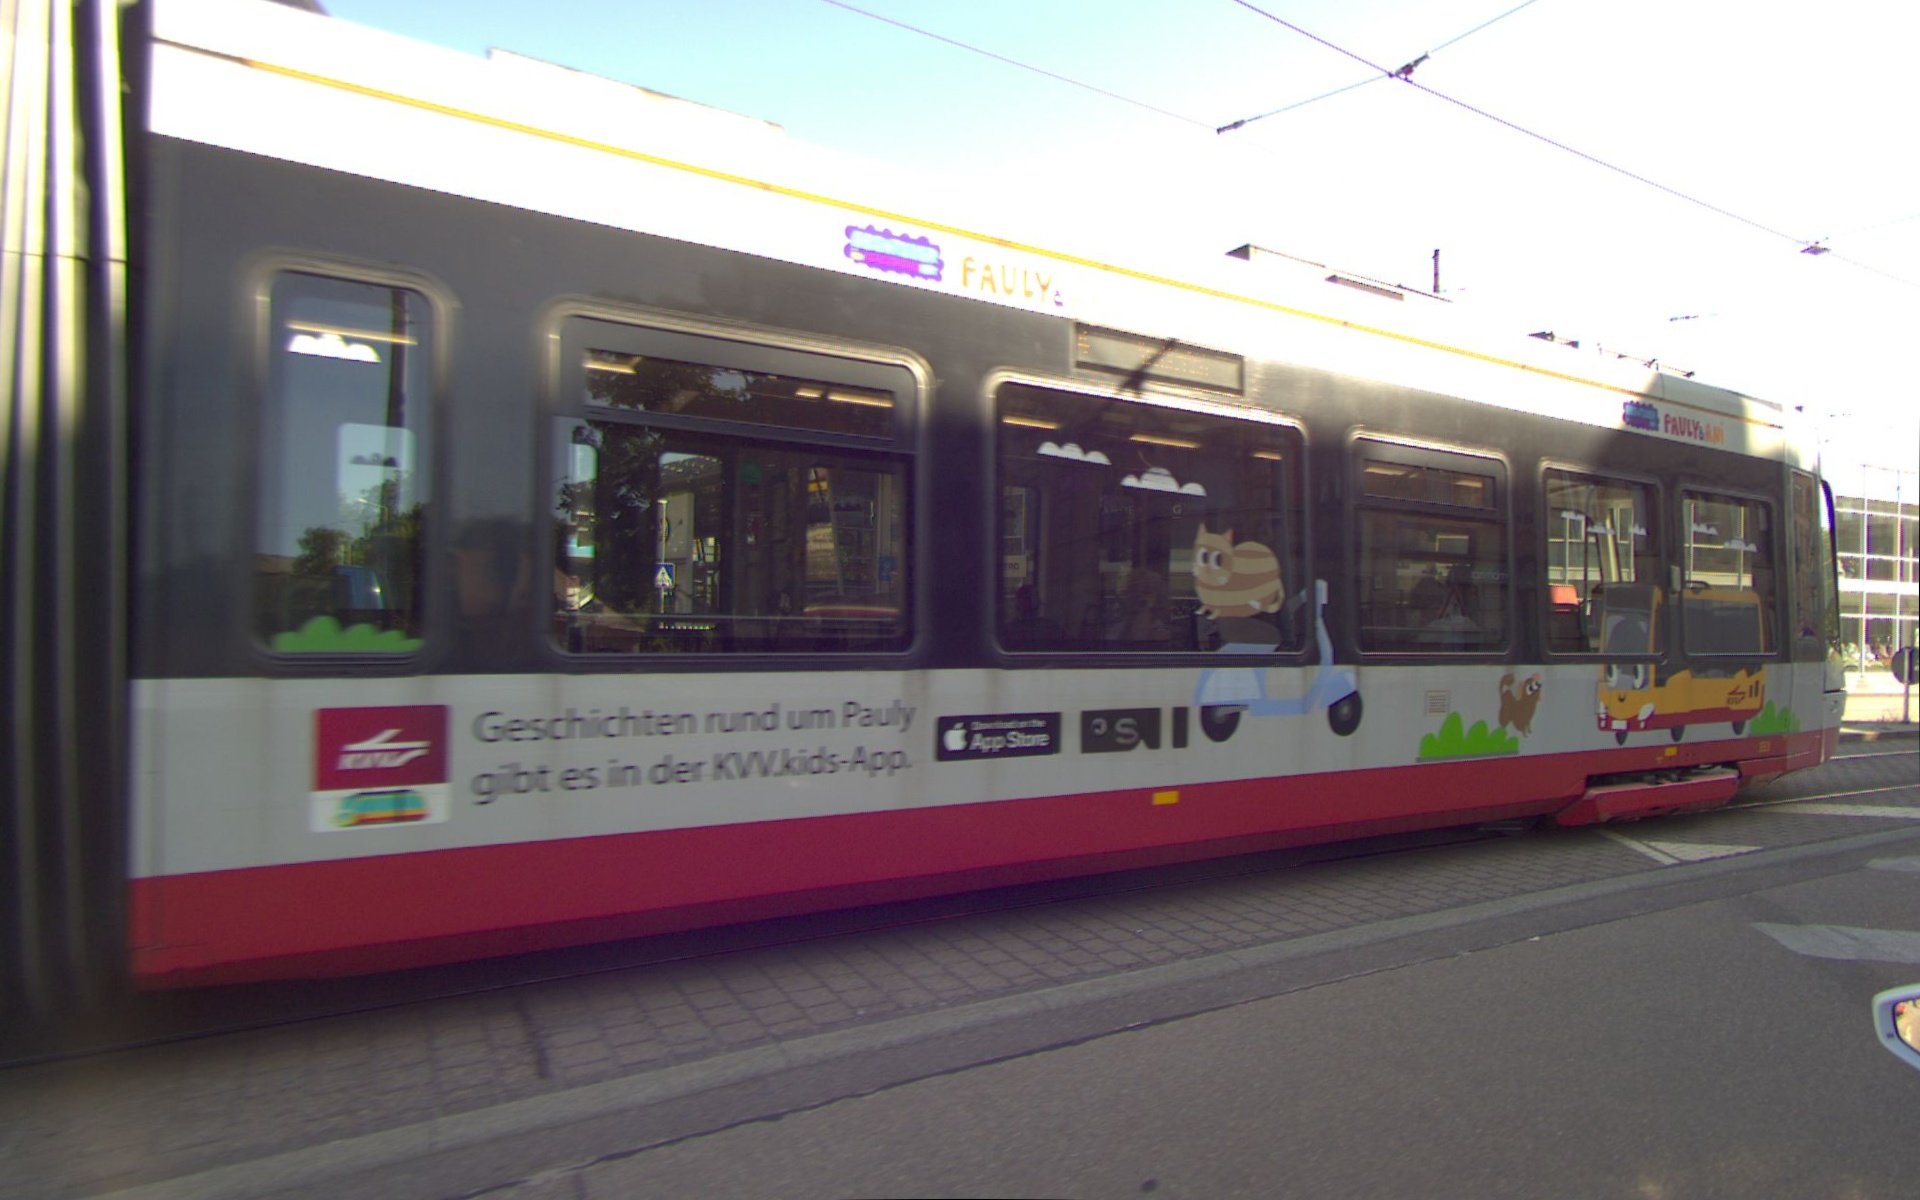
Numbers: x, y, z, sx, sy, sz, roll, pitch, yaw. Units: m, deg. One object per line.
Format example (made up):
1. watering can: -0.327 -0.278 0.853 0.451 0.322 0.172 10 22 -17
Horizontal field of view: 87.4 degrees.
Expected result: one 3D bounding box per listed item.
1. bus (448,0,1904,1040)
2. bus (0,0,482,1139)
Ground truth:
1. bus: 2.651 -0.270 7.216 11.136 3.637 2.828 2 0 -30
2. bus: -6.772 -0.537 1.583 10.606 3.637 2.825 2 0 -32
